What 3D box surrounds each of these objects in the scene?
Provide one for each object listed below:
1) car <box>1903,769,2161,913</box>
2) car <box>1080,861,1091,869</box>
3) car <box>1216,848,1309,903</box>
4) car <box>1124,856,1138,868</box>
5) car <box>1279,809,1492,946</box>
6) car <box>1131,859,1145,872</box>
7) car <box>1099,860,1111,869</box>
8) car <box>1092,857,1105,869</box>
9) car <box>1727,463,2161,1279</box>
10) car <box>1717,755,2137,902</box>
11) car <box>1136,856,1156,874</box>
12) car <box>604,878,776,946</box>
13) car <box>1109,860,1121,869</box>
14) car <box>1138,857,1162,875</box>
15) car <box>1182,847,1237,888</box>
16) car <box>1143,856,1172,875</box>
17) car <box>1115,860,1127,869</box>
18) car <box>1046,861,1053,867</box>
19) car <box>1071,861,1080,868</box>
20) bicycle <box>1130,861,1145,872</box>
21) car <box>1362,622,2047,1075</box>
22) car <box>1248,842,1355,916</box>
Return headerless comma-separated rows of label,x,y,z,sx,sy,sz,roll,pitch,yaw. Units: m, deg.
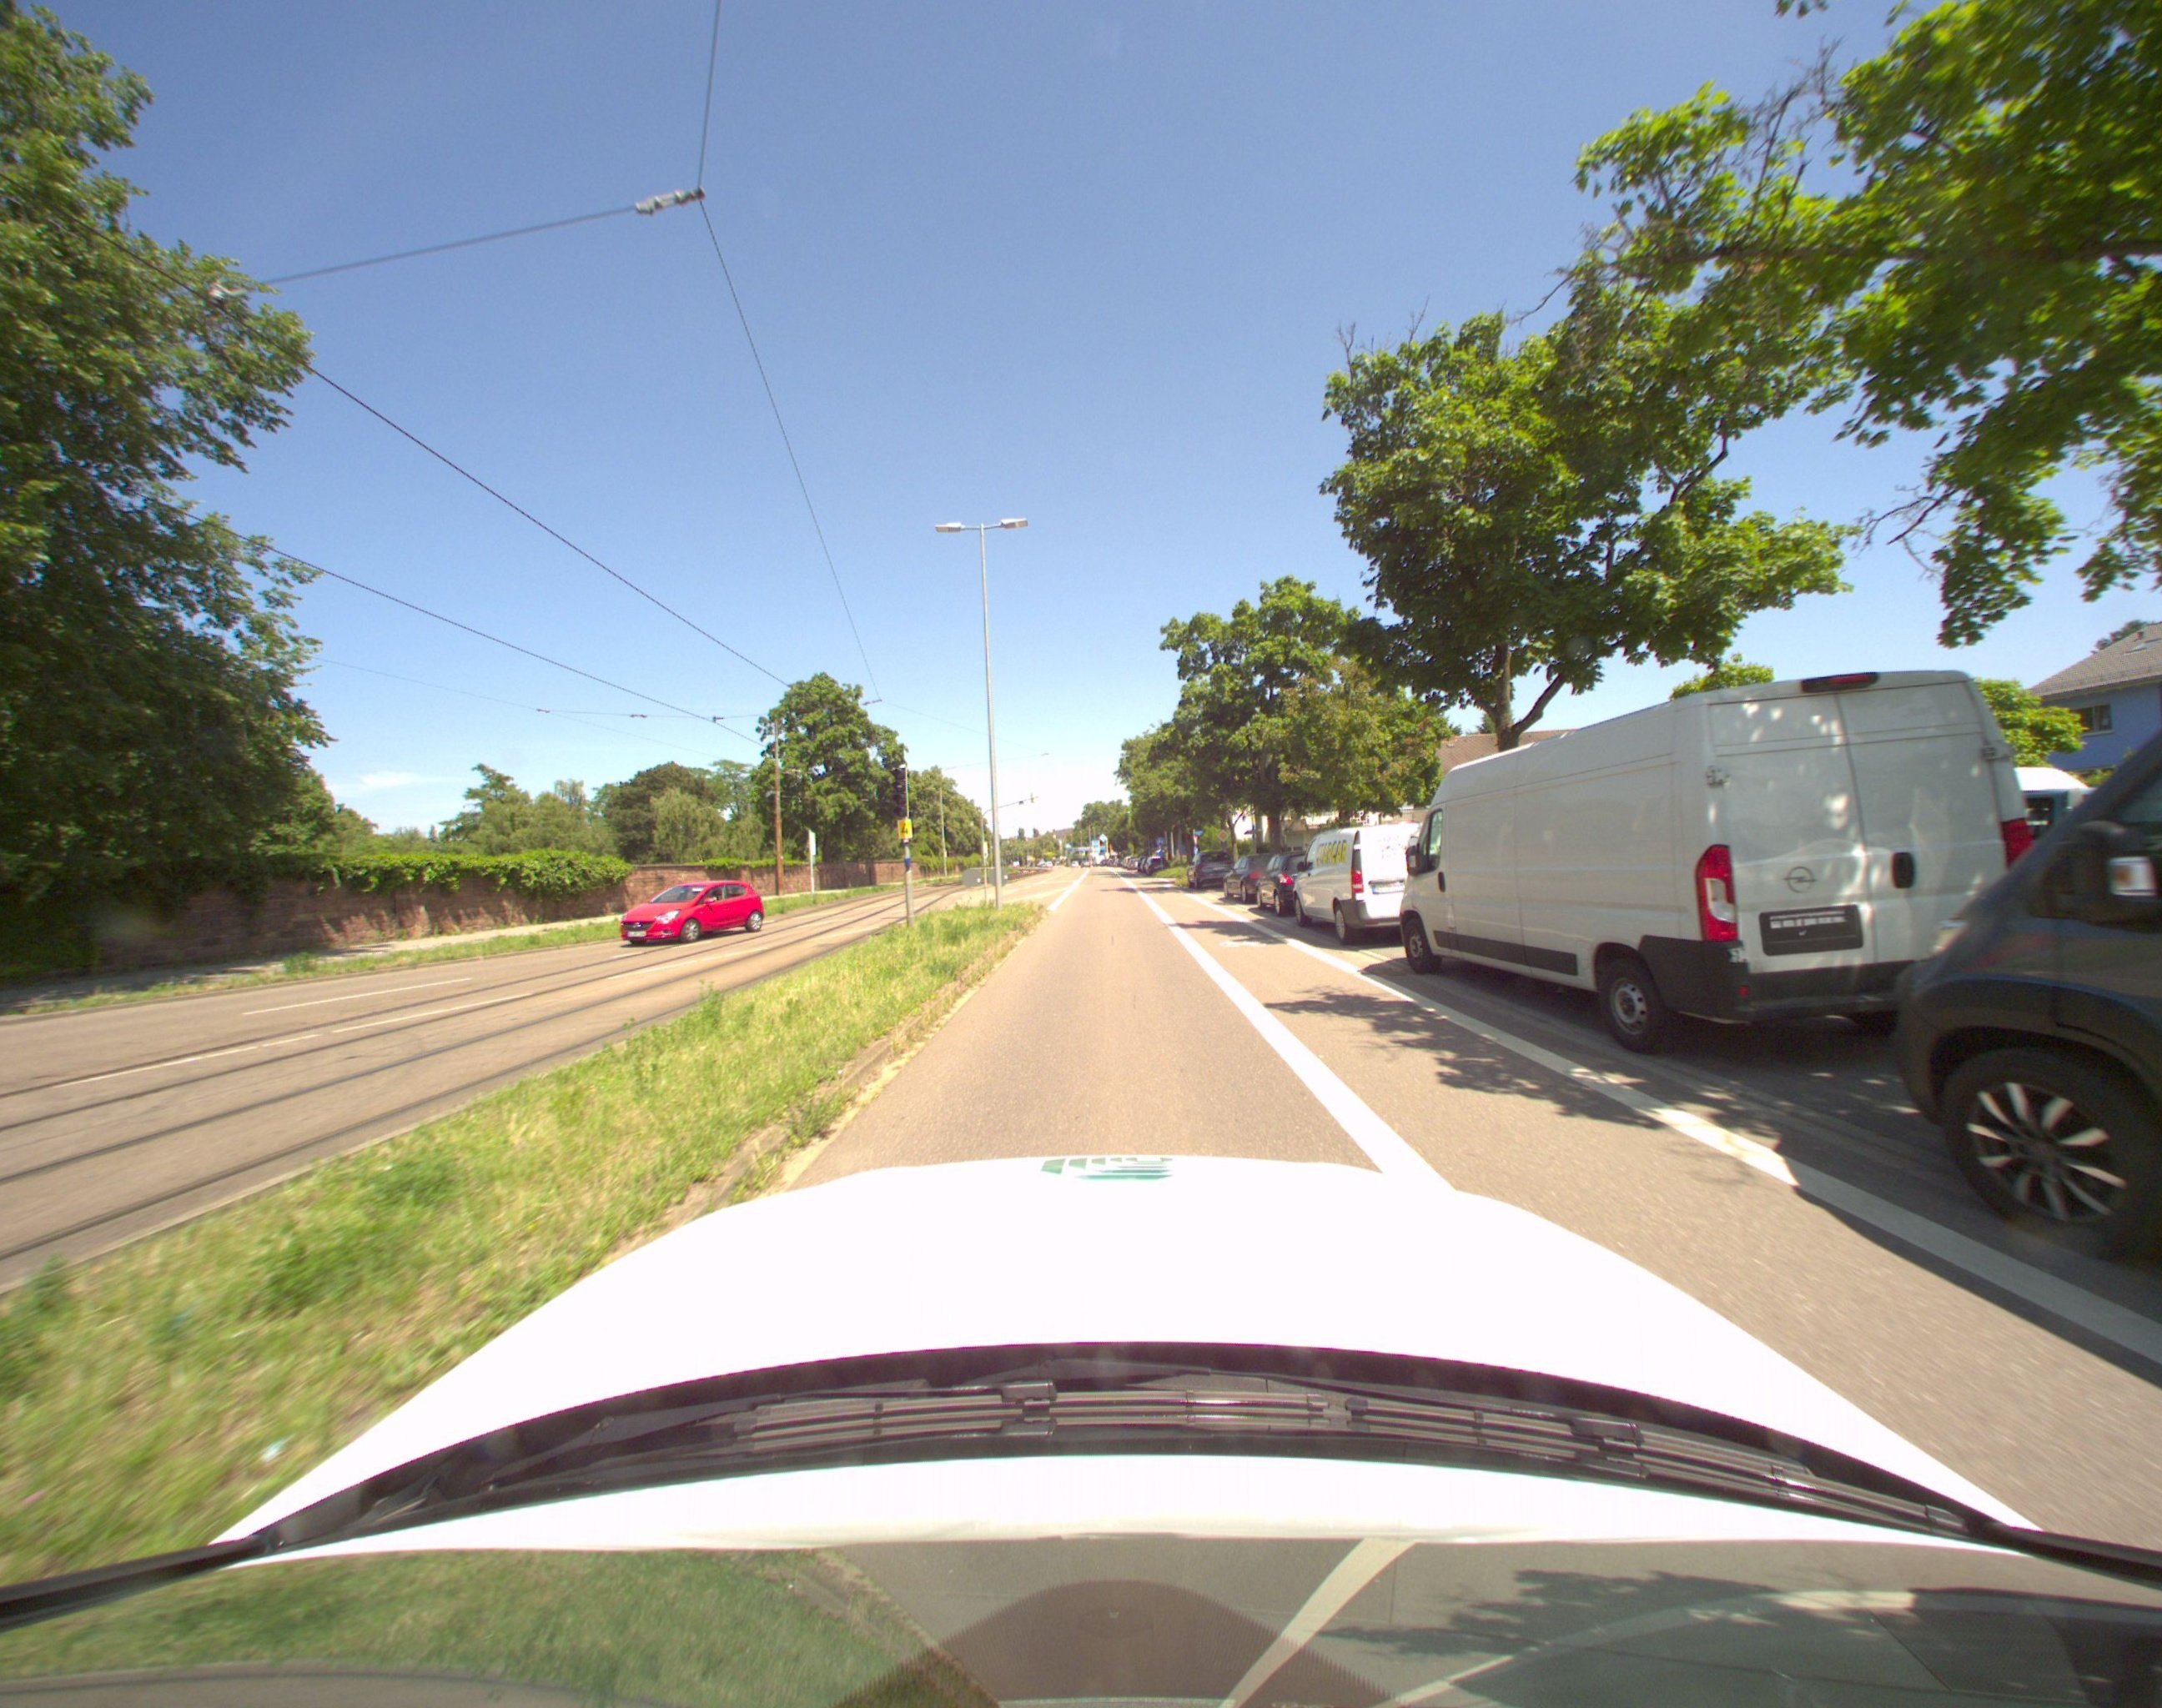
car,15.219,-0.185,12.006,4.396,1.909,1.952,-1,-1,-4
car,0.877,2.238,166.615,1.752,1.630,4.317,-5,0,-4
car,5.562,0.633,25.505,1.707,1.418,4.706,-5,0,-1
car,7.864,1.253,128.545,1.835,1.794,4.352,-5,0,0
car,5.182,0.356,14.805,1.989,1.878,5.280,-5,0,3
car,7.565,1.534,108.553,1.513,1.529,3.817,-5,0,1
car,5.203,2.321,178.678,1.755,1.630,4.311,-5,0,-8
car,4.027,2.134,188.811,2.001,2.457,6.090,-5,0,-9
car,4.438,0.003,1.218,1.991,2.636,6.079,-5,0,1
car,15.354,-0.428,15.061,5.469,2.459,2.095,-1,-1,1
car,6.882,1.187,86.640,1.833,1.706,4.629,-5,0,2
car,-9.996,1.439,21.215,1.695,1.414,4.296,-2,0,12
car,6.782,2.095,162.772,1.706,1.562,4.311,-5,0,-8
car,6.849,1.184,80.933,1.836,1.529,4.351,-5,0,-1
car,5.824,0.635,37.405,1.706,1.632,4.709,-5,-1,1
car,6.424,0.971,69.040,1.835,1.436,4.822,-5,0,-1
car,7.420,1.949,151.586,1.703,1.492,5.033,-5,0,-3
car,-10.069,3.218,258.406,1.755,1.875,4.311,-5,0,-8
car,-1.333,2.669,208.004,1.754,1.630,4.314,-5,0,-6
bicycle,7.371,1.585,106.516,1.765,1.228,0.684,-8,-1,5
car,4.913,-0.020,8.110,1.991,2.636,6.143,-5,0,1
car,5.427,0.570,20.516,1.705,1.540,3.843,-5,0,3
